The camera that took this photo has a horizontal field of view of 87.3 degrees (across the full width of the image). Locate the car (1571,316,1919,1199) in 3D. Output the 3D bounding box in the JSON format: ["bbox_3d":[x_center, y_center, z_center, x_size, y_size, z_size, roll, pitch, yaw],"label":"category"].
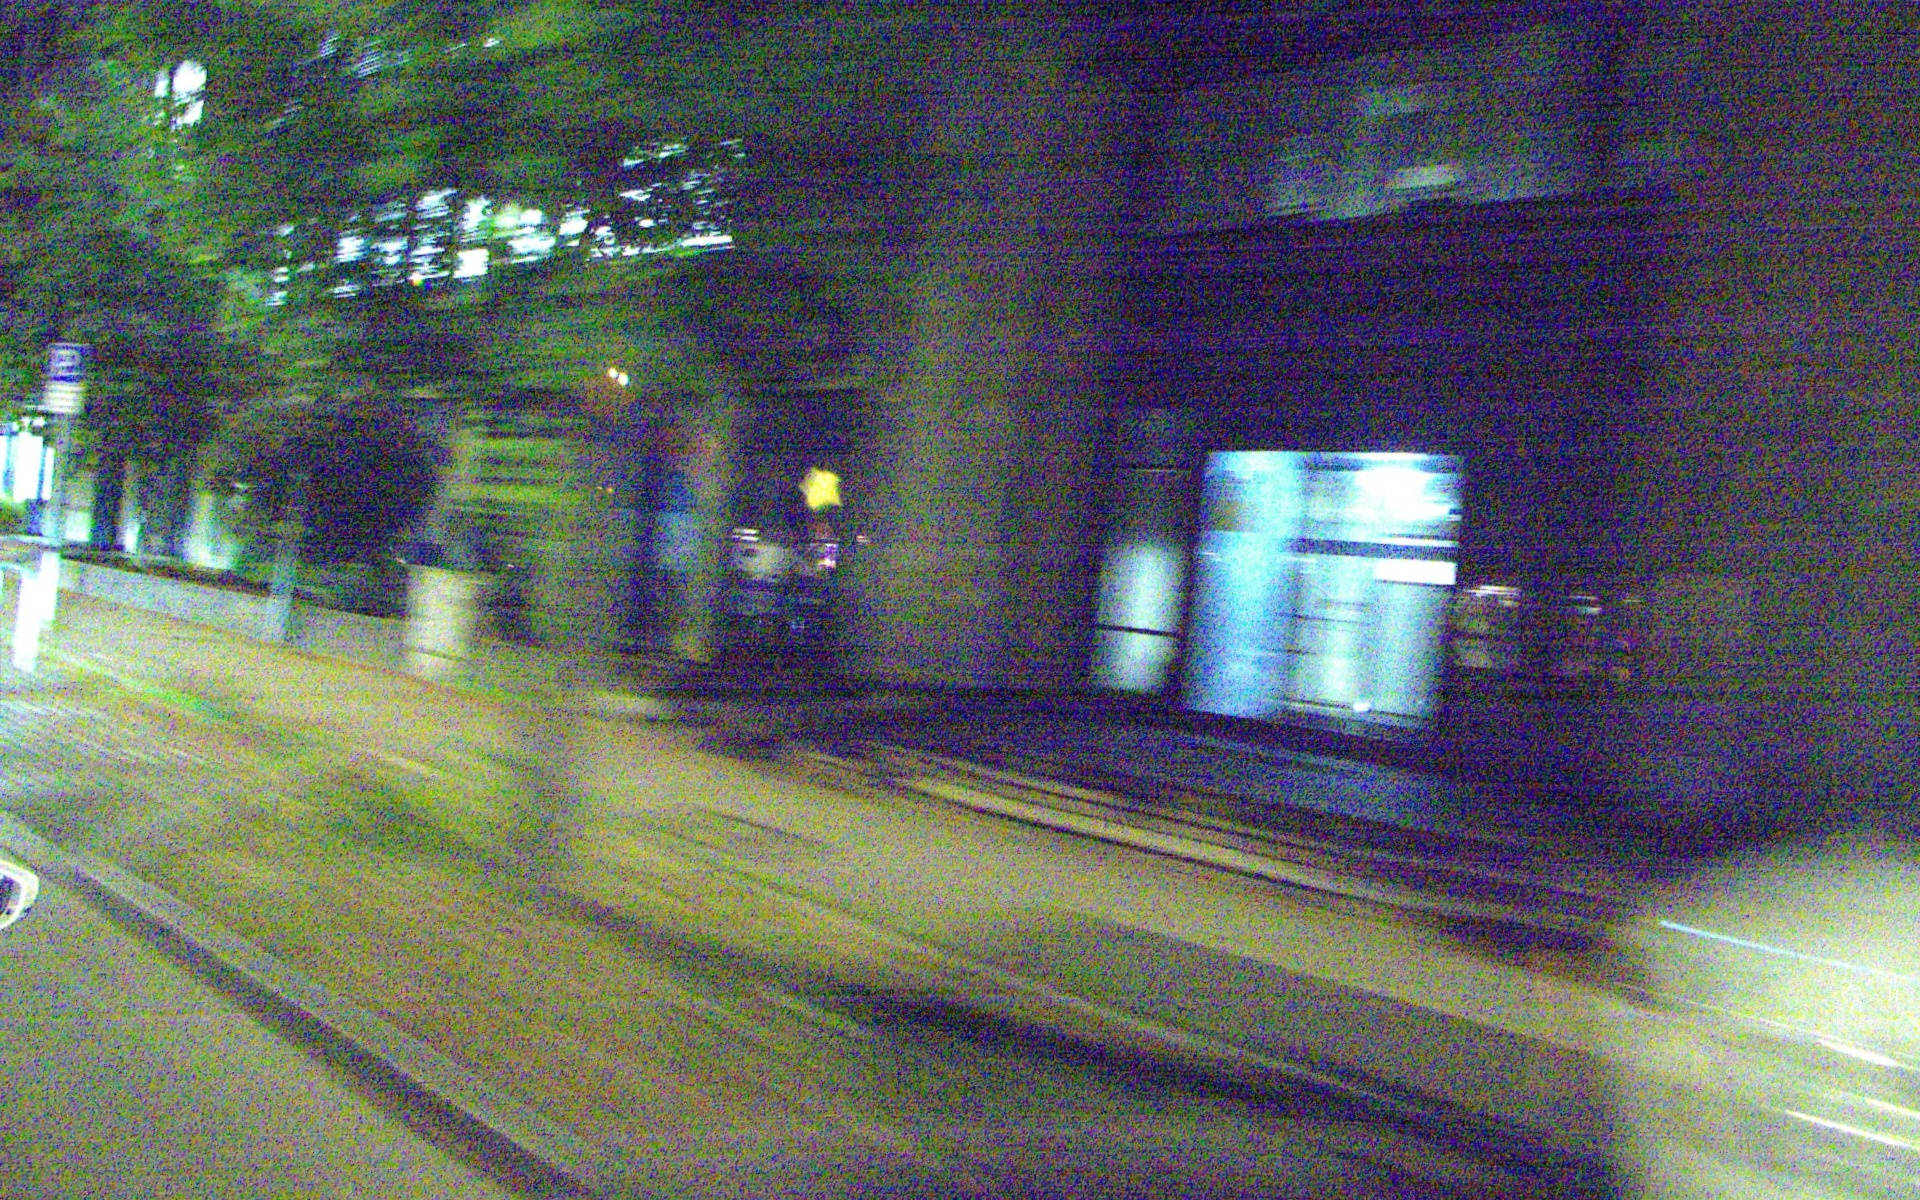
[{"bbox_3d":[3.391,0.924,0.989,4.526,1.989,1.953,7,1,30],"label":"car"}]
